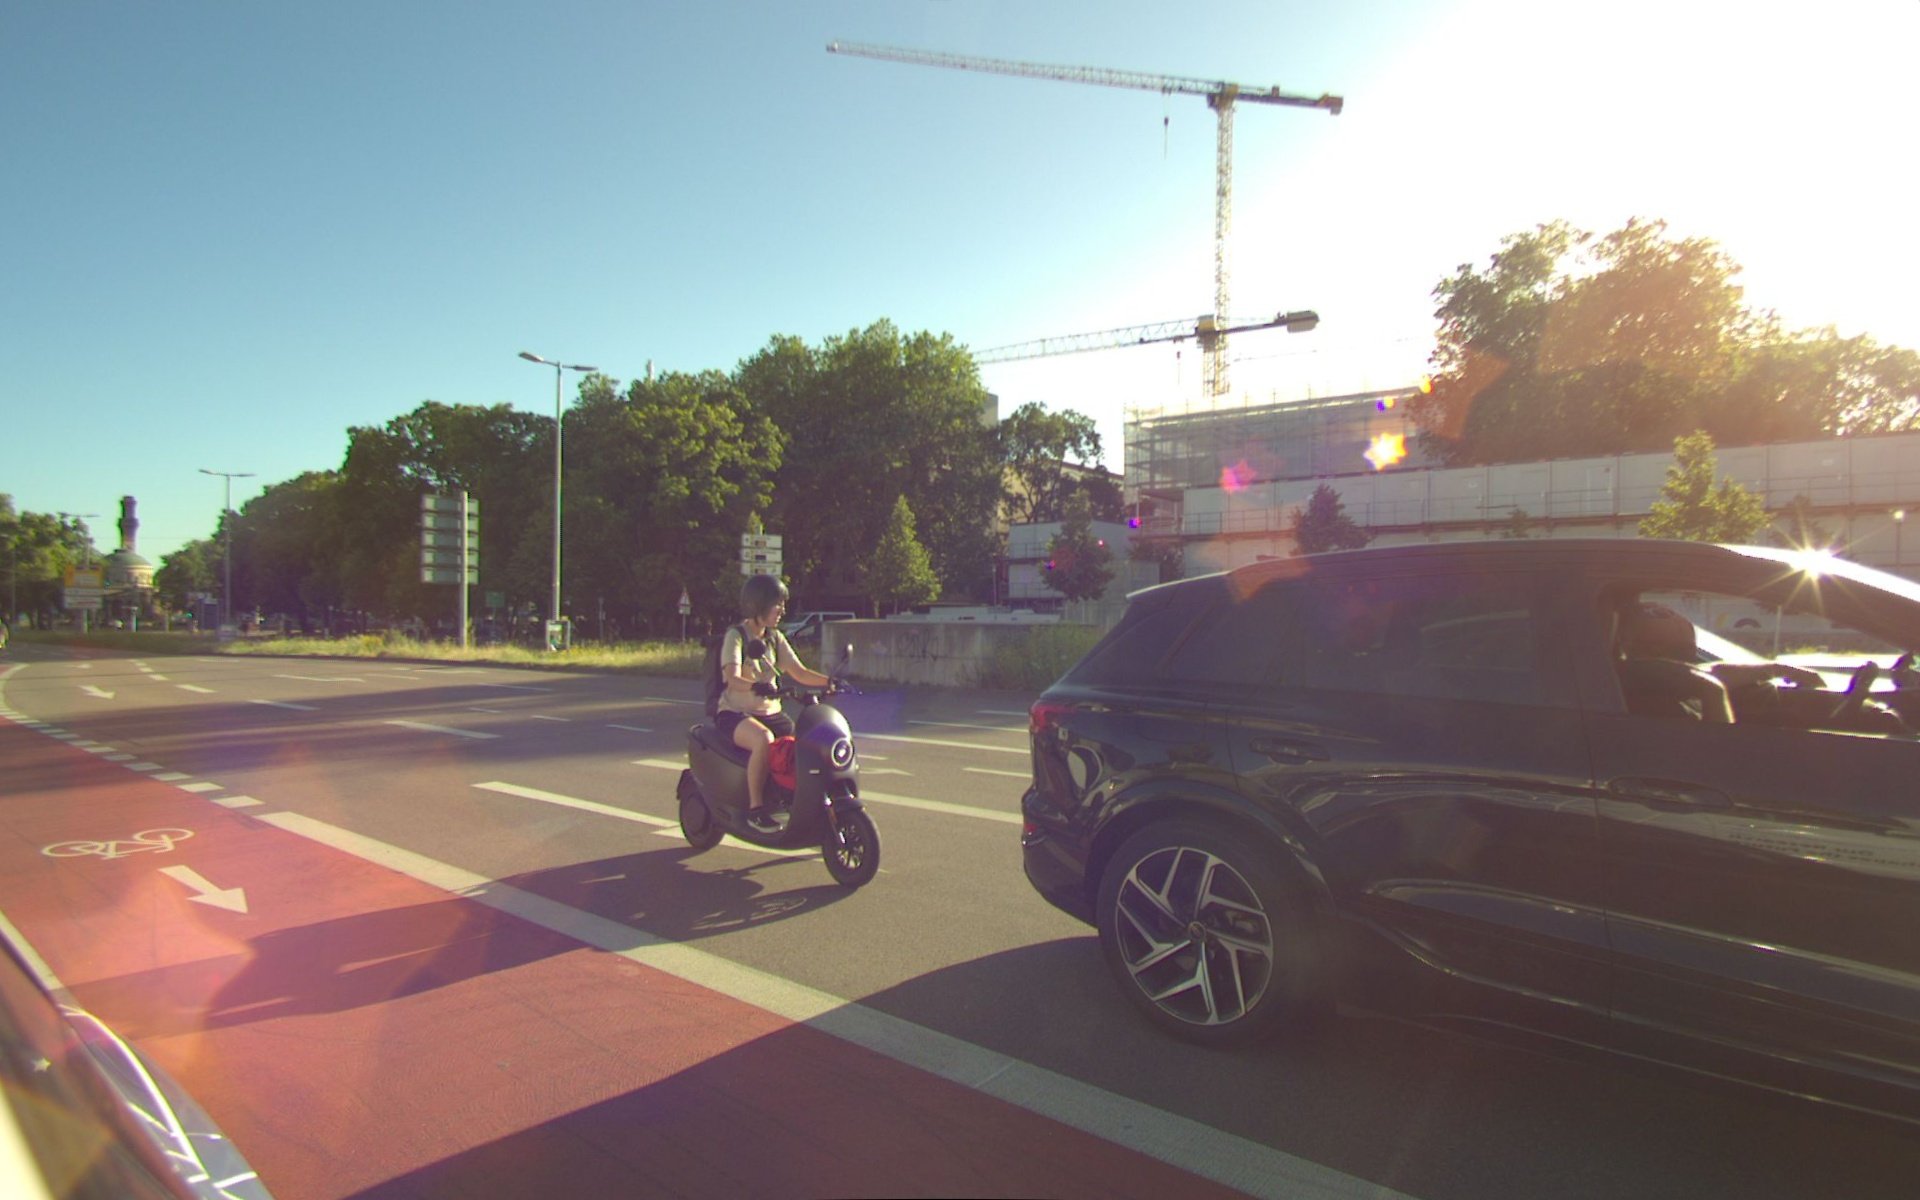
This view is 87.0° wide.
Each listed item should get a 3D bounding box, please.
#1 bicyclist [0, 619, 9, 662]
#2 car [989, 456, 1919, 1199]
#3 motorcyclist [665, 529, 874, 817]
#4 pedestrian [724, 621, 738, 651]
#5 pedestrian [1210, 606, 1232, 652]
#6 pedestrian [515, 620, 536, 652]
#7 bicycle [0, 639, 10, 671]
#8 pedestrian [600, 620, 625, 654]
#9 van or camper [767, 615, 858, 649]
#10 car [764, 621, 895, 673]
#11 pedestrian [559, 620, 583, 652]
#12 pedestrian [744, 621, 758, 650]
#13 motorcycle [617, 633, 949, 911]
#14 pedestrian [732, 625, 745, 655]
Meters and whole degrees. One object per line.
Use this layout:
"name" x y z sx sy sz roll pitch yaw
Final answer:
"bicyclist" -37.664 1.577 39.518 0.877 1.671 0.666 -1 -2 41
"car" 2.582 0.549 3.153 4.661 1.720 2.143 -1 -1 40
"motorcyclist" -1.085 0.388 5.792 0.877 1.475 0.813 -1 -2 41
"pedestrian" -11.672 1.831 51.490 0.494 1.522 0.492 -1 -2 41
"pedestrian" 9.444 1.040 36.608 0.597 1.614 0.580 -1 0 38
"pedestrian" -28.215 2.335 65.678 0.835 2.029 0.950 -1 0 22
"bicycle" -37.600 2.146 39.421 1.505 1.201 0.680 -1 -2 41
"pedestrian" -20.660 2.187 60.181 0.815 1.978 1.111 -1 0 41
"van or camper" -8.965 1.927 61.890 1.951 1.960 5.425 -2 -2 44
"car" -4.065 1.407 31.155 3.979 1.492 1.857 -1 -2 41
"pedestrian" -24.074 2.227 62.597 1.054 1.978 0.942 -1 0 26
"pedestrian" -10.912 1.853 52.888 0.494 1.522 0.492 -1 -2 41
"motorcycle" -1.053 0.842 5.726 1.943 1.290 0.817 -1 -2 41
"pedestrian" -11.441 2.077 52.292 0.494 1.522 0.492 -1 -2 41
